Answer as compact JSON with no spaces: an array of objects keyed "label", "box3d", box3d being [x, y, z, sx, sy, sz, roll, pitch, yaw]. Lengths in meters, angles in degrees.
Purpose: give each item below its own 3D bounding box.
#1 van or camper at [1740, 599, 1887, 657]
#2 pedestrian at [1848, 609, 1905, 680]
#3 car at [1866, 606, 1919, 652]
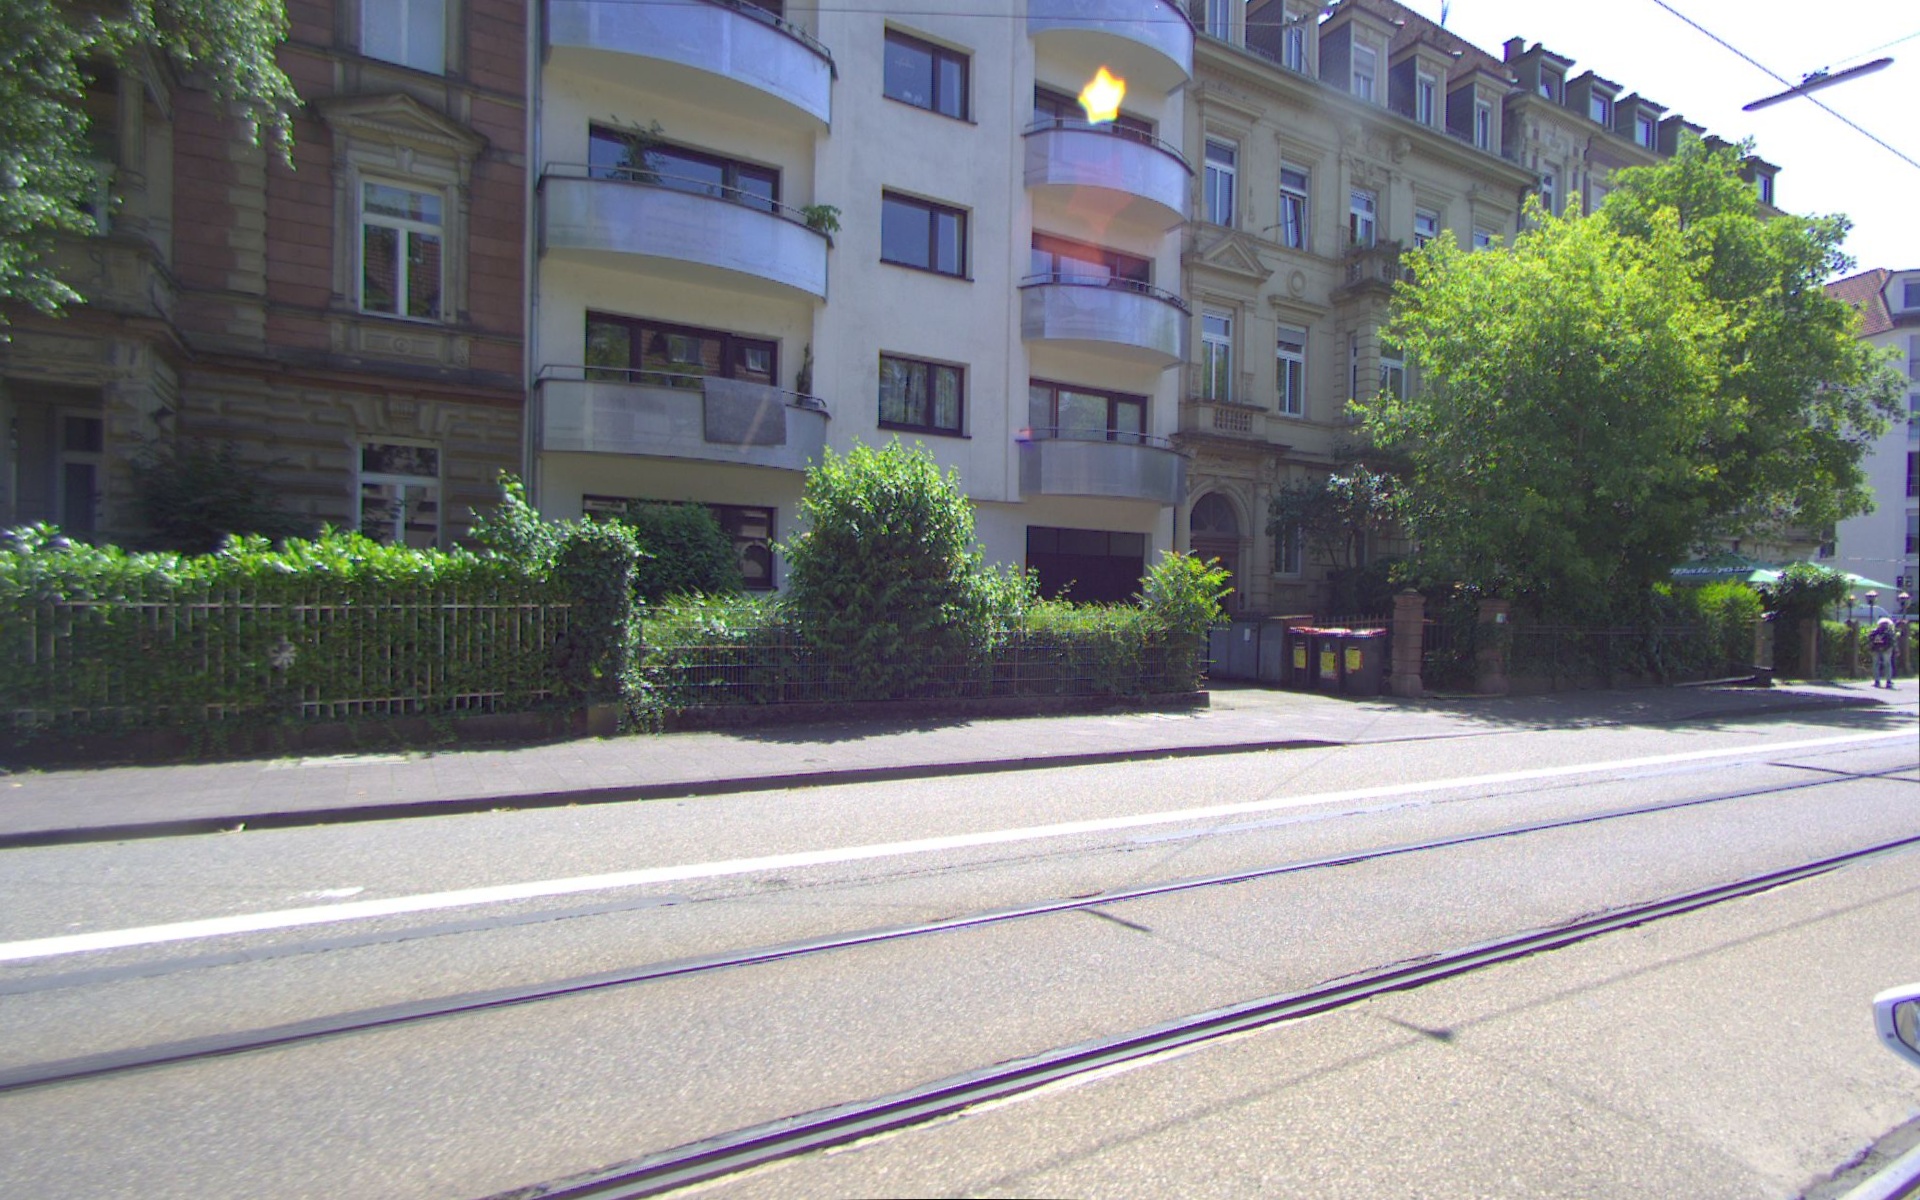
[{"label":"van or camper","box3d":[34.575,1.130,40.739,4.714,2.148,1.996,2,0,-11]},{"label":"pedestrian","box3d":[21.859,1.053,23.959,0.824,1.651,0.747,1,1,-31]},{"label":"car","box3d":[42.178,1.311,43.148,1.965,1.929,4.484,2,0,-13]}]
